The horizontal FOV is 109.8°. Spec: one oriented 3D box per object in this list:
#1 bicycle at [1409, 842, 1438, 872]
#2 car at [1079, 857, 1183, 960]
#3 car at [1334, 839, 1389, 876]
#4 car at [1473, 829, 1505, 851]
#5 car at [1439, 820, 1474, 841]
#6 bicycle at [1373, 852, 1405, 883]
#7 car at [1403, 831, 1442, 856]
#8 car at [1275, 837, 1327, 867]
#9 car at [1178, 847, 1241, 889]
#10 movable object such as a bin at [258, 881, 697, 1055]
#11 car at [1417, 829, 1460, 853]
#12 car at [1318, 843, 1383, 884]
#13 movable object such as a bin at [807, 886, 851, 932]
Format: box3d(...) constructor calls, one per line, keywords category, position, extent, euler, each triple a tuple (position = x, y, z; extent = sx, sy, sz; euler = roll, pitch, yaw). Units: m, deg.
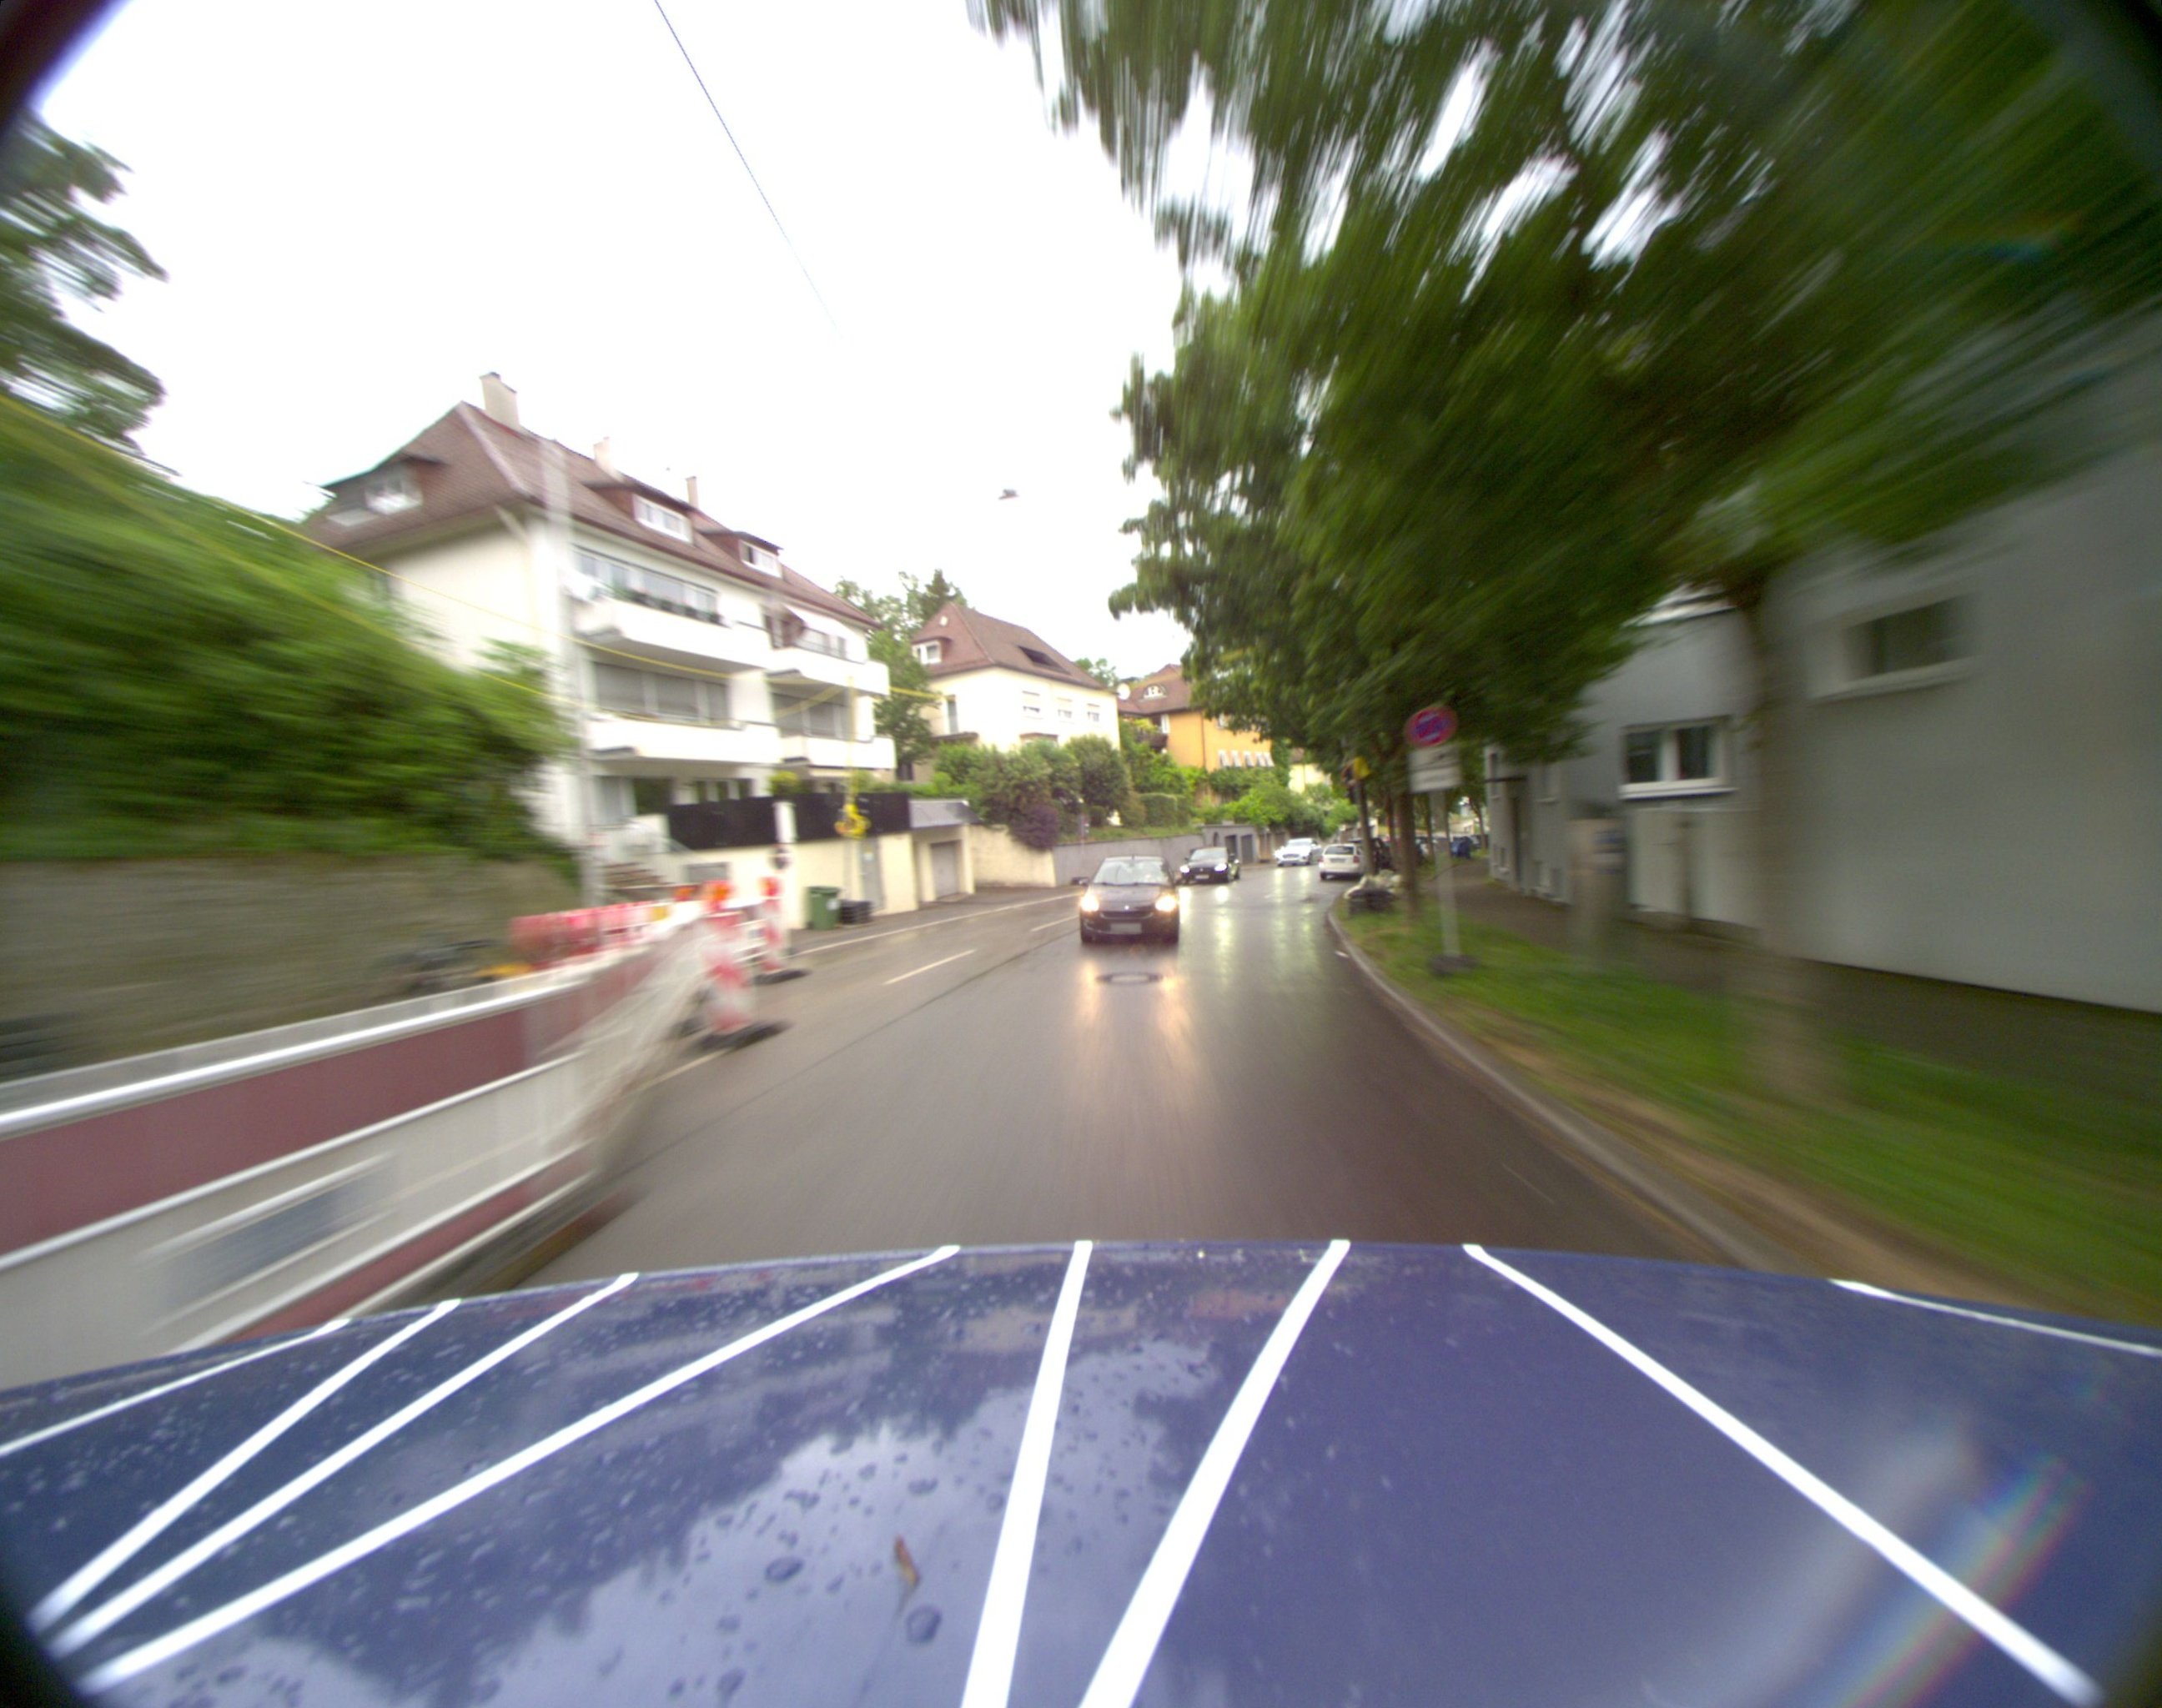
box3d(category="bicycle", position=(14.945, 0.119, 33.152), extent=(0.619, 1.244, 1.909), euler=(-2, 1, 40))
box3d(category="car", position=(1.001, 0.875, 13.812), extent=(1.577, 1.444, 3.587), euler=(-2, 2, 7))
box3d(category="car", position=(13.374, 0.116, 36.098), extent=(1.682, 1.600, 4.584), euler=(0, 2, 30))
box3d(category="car", position=(34.584, -1.199, 64.370), extent=(1.618, 1.650, 3.931), euler=(4, 6, 40))
box3d(category="car", position=(27.699, -1.788, 55.972), extent=(1.574, 1.480, 3.476), euler=(3, 4, 39))
box3d(category="bicycle", position=(11.423, 0.478, 28.132), extent=(0.435, 1.024, 1.909), euler=(-1, 2, 42))
box3d(category="car", position=(21.619, -0.709, 48.061), extent=(1.555, 1.502, 3.390), euler=(2, 3, 37))
box3d(category="car", position=(13.521, -0.130, 46.484), extent=(2.008, 1.652, 4.452), euler=(0, 2, 31))
box3d(category="car", position=(5.285, 0.524, 30.912), extent=(1.805, 1.480, 4.022), euler=(-3, 0, 19))
box3d(category="movable object such as a bin", position=(-7.157, 1.247, 9.676), extent=(1.997, 1.510, 4.002), euler=(-4, 0, 8))
box3d(category="car", position=(24.563, -0.922, 52.099), extent=(1.664, 1.481, 4.483), euler=(3, 5, 38))
box3d(category="car", position=(11.304, 0.345, 31.701), extent=(1.682, 1.500, 4.323), euler=(0, 2, 32))
box3d(category="movable object such as a bin", position=(-5.931, 1.289, 17.870), extent=(0.720, 1.026, 0.593), euler=(-2, 2, 25))
